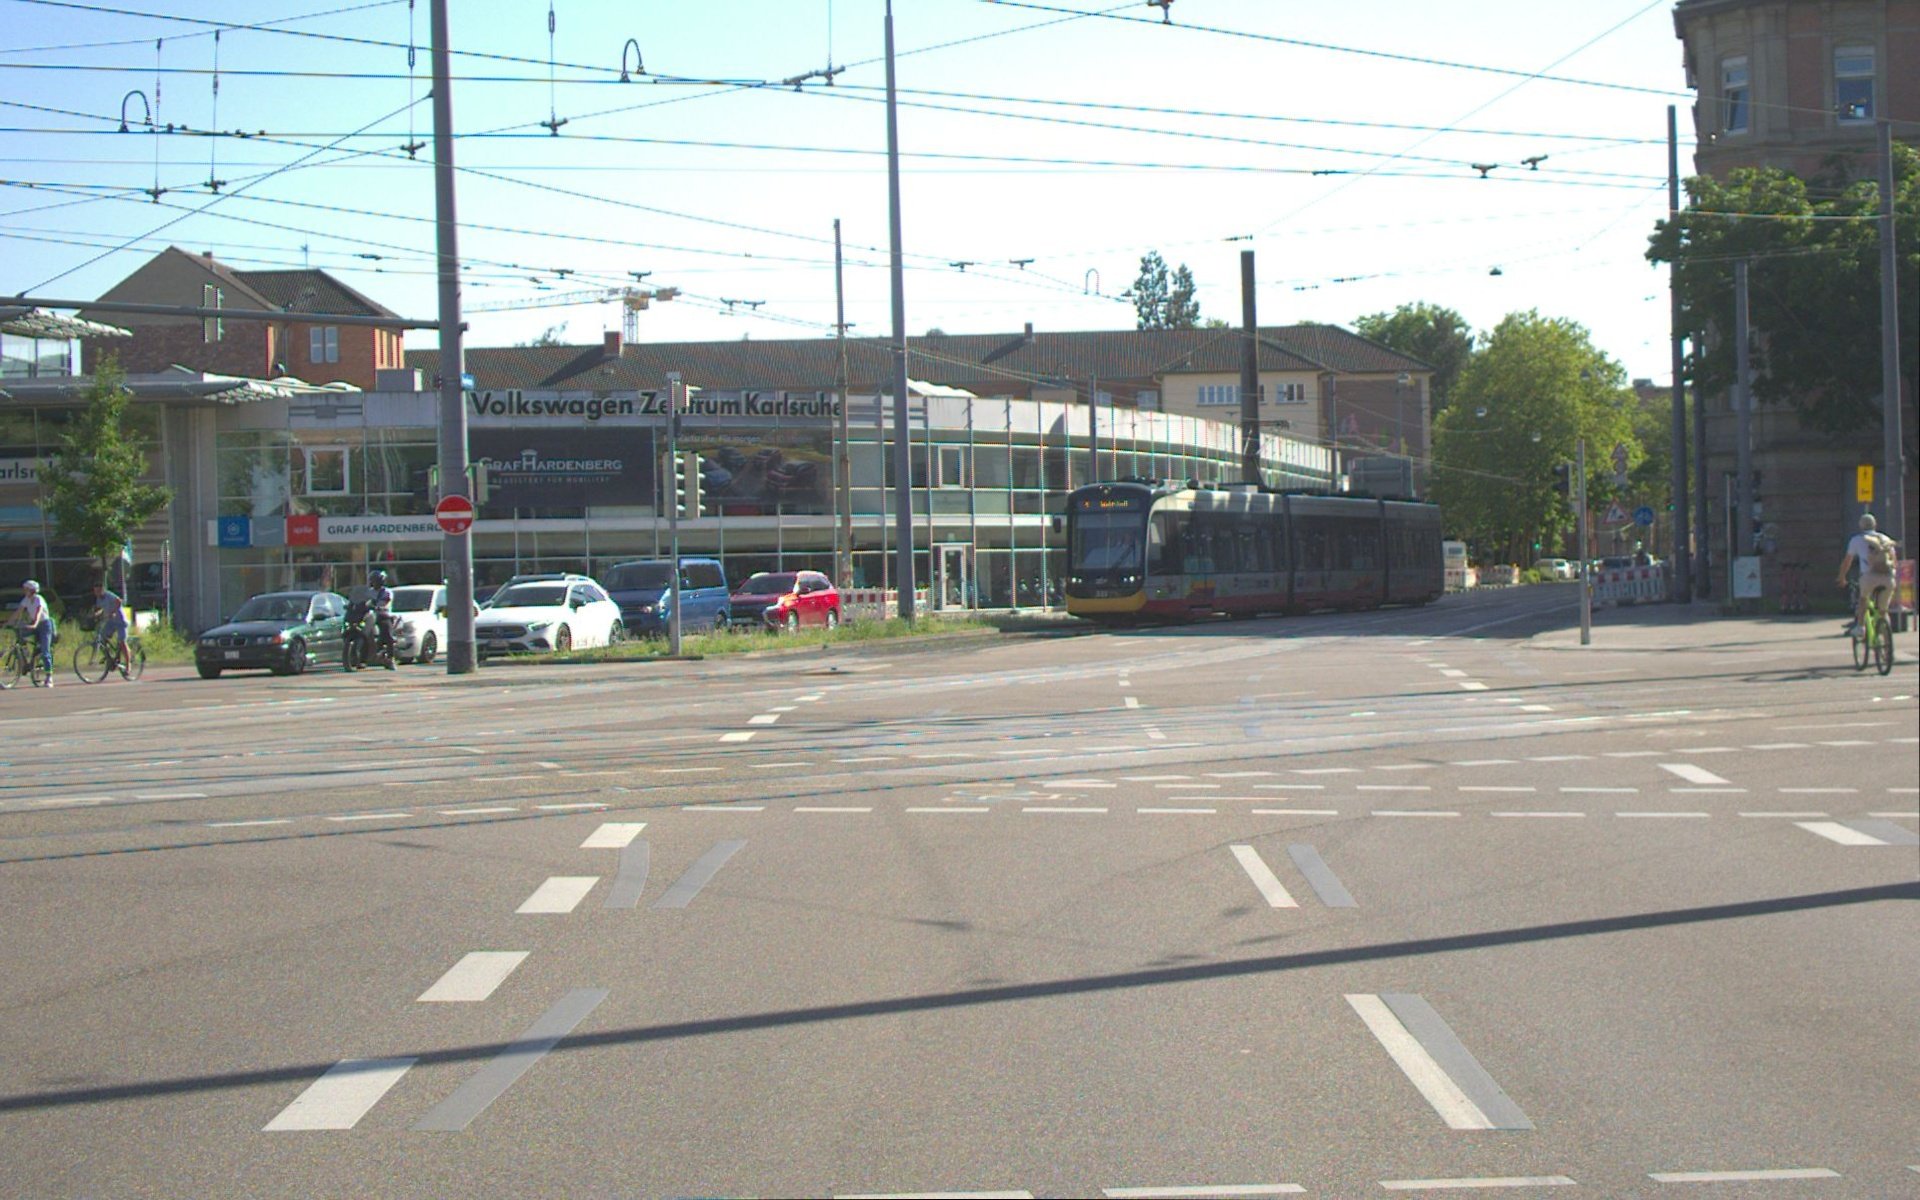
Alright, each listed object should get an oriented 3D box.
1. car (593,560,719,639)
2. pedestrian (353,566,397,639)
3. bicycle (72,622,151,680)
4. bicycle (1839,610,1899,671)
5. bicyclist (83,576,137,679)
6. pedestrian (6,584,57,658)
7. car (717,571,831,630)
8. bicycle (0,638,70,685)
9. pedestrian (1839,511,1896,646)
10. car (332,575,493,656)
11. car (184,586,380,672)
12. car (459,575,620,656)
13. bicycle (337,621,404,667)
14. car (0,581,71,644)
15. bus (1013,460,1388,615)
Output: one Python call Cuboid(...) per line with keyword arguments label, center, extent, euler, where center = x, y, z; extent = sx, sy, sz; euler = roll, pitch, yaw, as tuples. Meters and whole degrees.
Cuboid(label="car", center=(-6.722, -0.029, 76.310), extent=(1.627, 1.686, 3.683), euler=(-1, 0, 14))
Cuboid(label="pedestrian", center=(-9.837, 0.041, 57.808), extent=(0.423, 1.200, 0.749), euler=(-1, 0, 17))
Cuboid(label="bicycle", center=(-14.279, 0.853, 57.878), extent=(0.468, 0.923, 1.473), euler=(-1, 0, 23))
Cuboid(label="bicycle", center=(10.673, 0.469, 40.333), extent=(0.537, 0.653, 1.724), euler=(-1, 1, 19))
Cuboid(label="bicyclist", center=(-14.267, 0.458, 57.719), extent=(0.569, 1.708, 0.648), euler=(-1, 0, 23))
Cuboid(label="pedestrian", center=(-15.142, 0.339, 56.056), extent=(0.423, 1.200, 0.679), euler=(-1, 0, 30))
Cuboid(label="car", center=(-4.483, 0.005, 83.440), extent=(1.627, 1.359, 3.683), euler=(-1, 0, 16))
Cuboid(label="bicycle", center=(-15.179, 0.992, 55.972), extent=(0.423, 0.715, 1.473), euler=(-1, 1, 30))
Cuboid(label="pedestrian", center=(10.615, -0.253, 40.208), extent=(0.549, 1.557, 0.857), euler=(-1, 0, 20))
Cuboid(label="car", center=(-10.180, 0.273, 64.170), extent=(1.627, 1.419, 3.683), euler=(-1, 0, 14))
Cuboid(label="car", center=(-11.441, 0.465, 58.213), extent=(1.705, 1.349, 3.698), euler=(-1, 1, 17))
Cuboid(label="car", center=(-7.579, 0.256, 62.291), extent=(1.627, 1.377, 3.735), euler=(-1, 0, 14))
Cuboid(label="bicycle", center=(-9.881, 0.737, 57.645), extent=(0.423, 0.715, 1.633), euler=(-1, 1, 16))
Cuboid(label="car", center=(-26.636, 0.352, 97.198), extent=(1.966, 1.700, 4.083), euler=(-1, 0, -1))
Cuboid(label="bus", center=(7.066, -1.452, 92.315), extent=(3.840, 3.595, 24.842), euler=(1, 0, 19))
